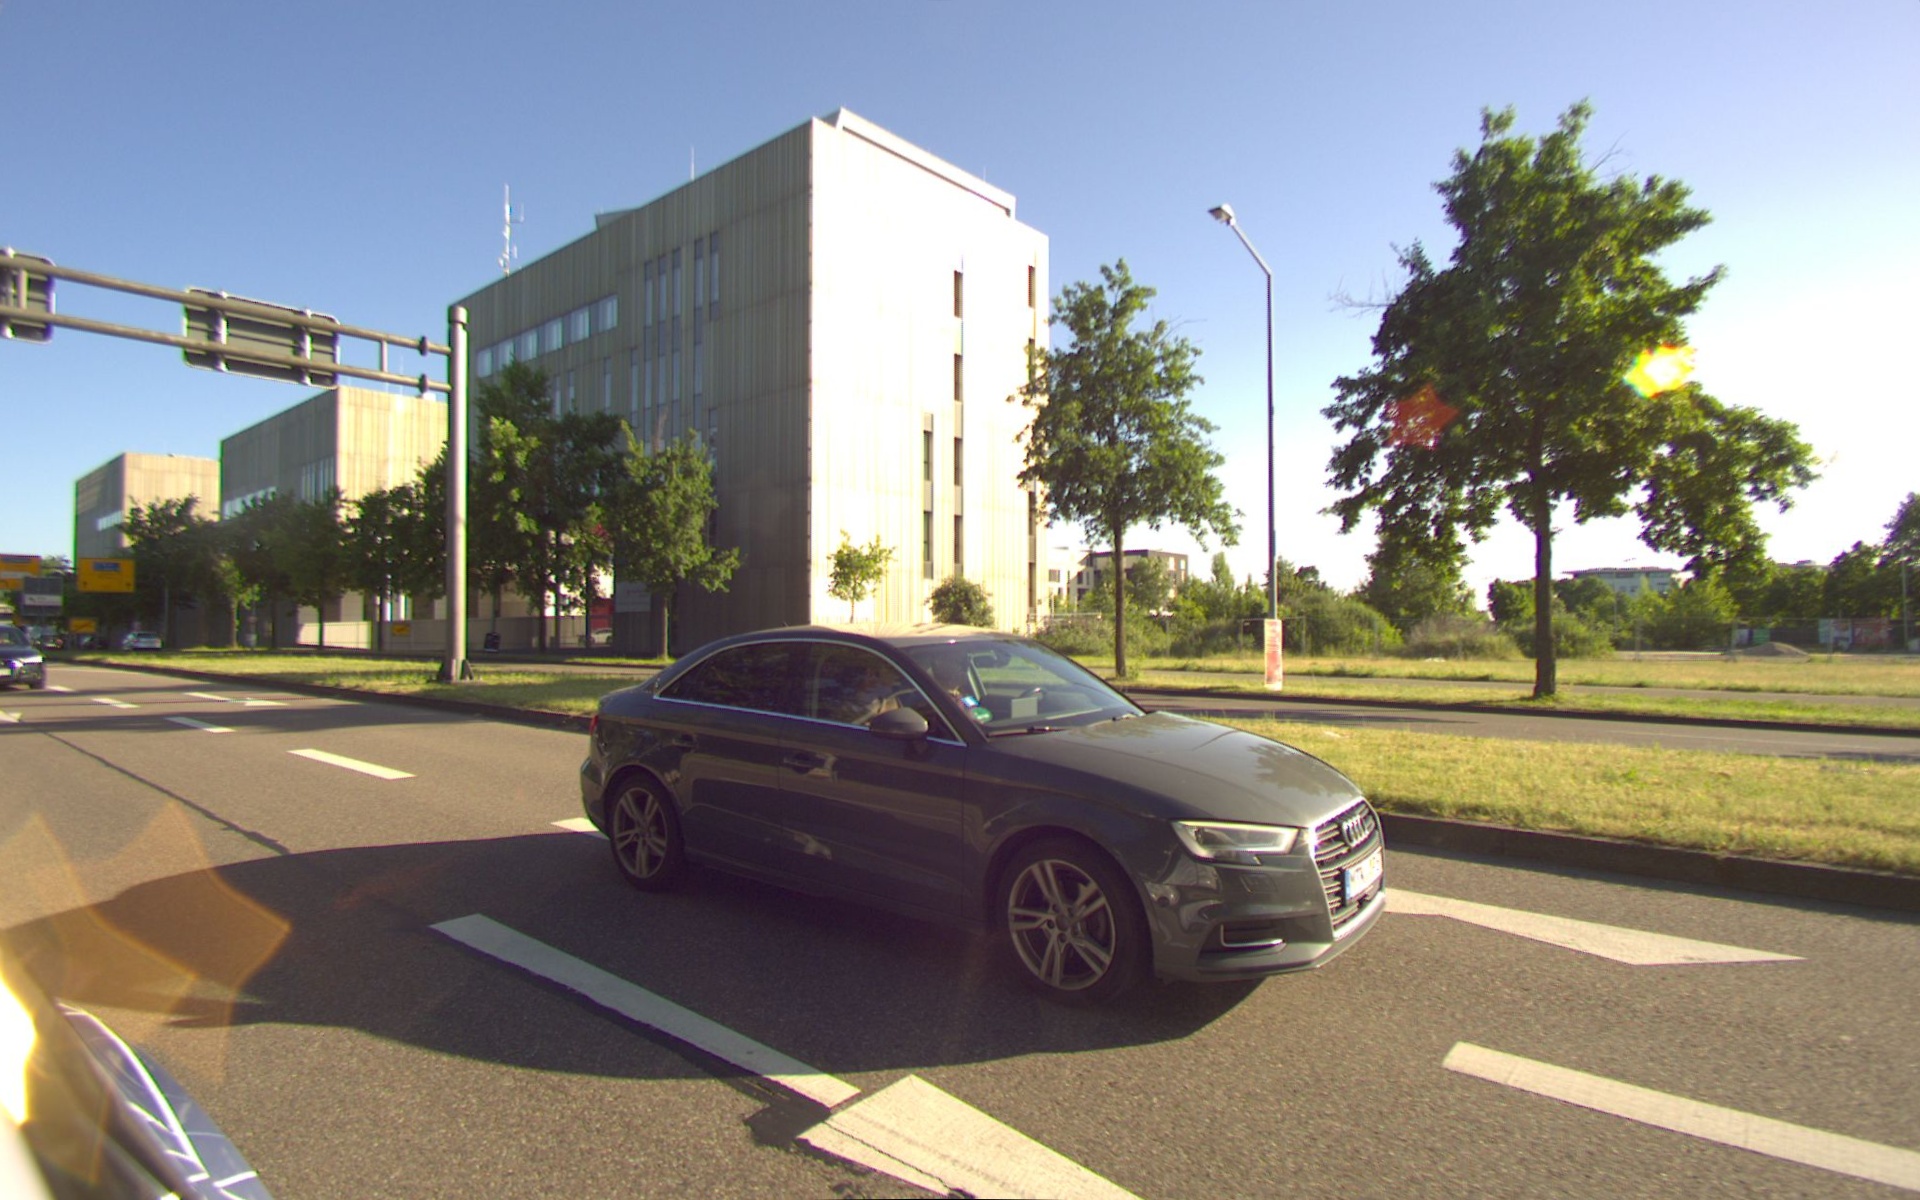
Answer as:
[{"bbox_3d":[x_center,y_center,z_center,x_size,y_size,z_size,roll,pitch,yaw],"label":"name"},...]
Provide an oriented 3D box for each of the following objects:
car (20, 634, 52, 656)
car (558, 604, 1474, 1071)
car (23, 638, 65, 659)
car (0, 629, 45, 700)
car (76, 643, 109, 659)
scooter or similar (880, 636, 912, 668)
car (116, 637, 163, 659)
[{"bbox_3d":[-94.295,4.590,103.274,3.998,2.202,1.973,-2,-3,41],"label":"car"},{"bbox_3d":[-0.010,0.767,5.055,4.351,1.390,1.744,-2,-2,37],"label":"car"},{"bbox_3d":[-72.242,3.809,79.808,3.998,1.590,1.973,-2,-3,41],"label":"car"},{"bbox_3d":[-21.764,1.387,22.340,5.015,1.454,1.774,-2,-2,41],"label":"car"},{"bbox_3d":[-86.650,5.061,101.078,3.998,1.590,1.973,-2,-3,41],"label":"car"},{"bbox_3d":[-2.293,1.841,36.099,0.446,1.119,1.409,1,-2,-35],"label":"scooter or similar"},{"bbox_3d":[-59.660,3.467,73.543,3.998,1.590,1.973,-2,-3,41],"label":"car"}]
